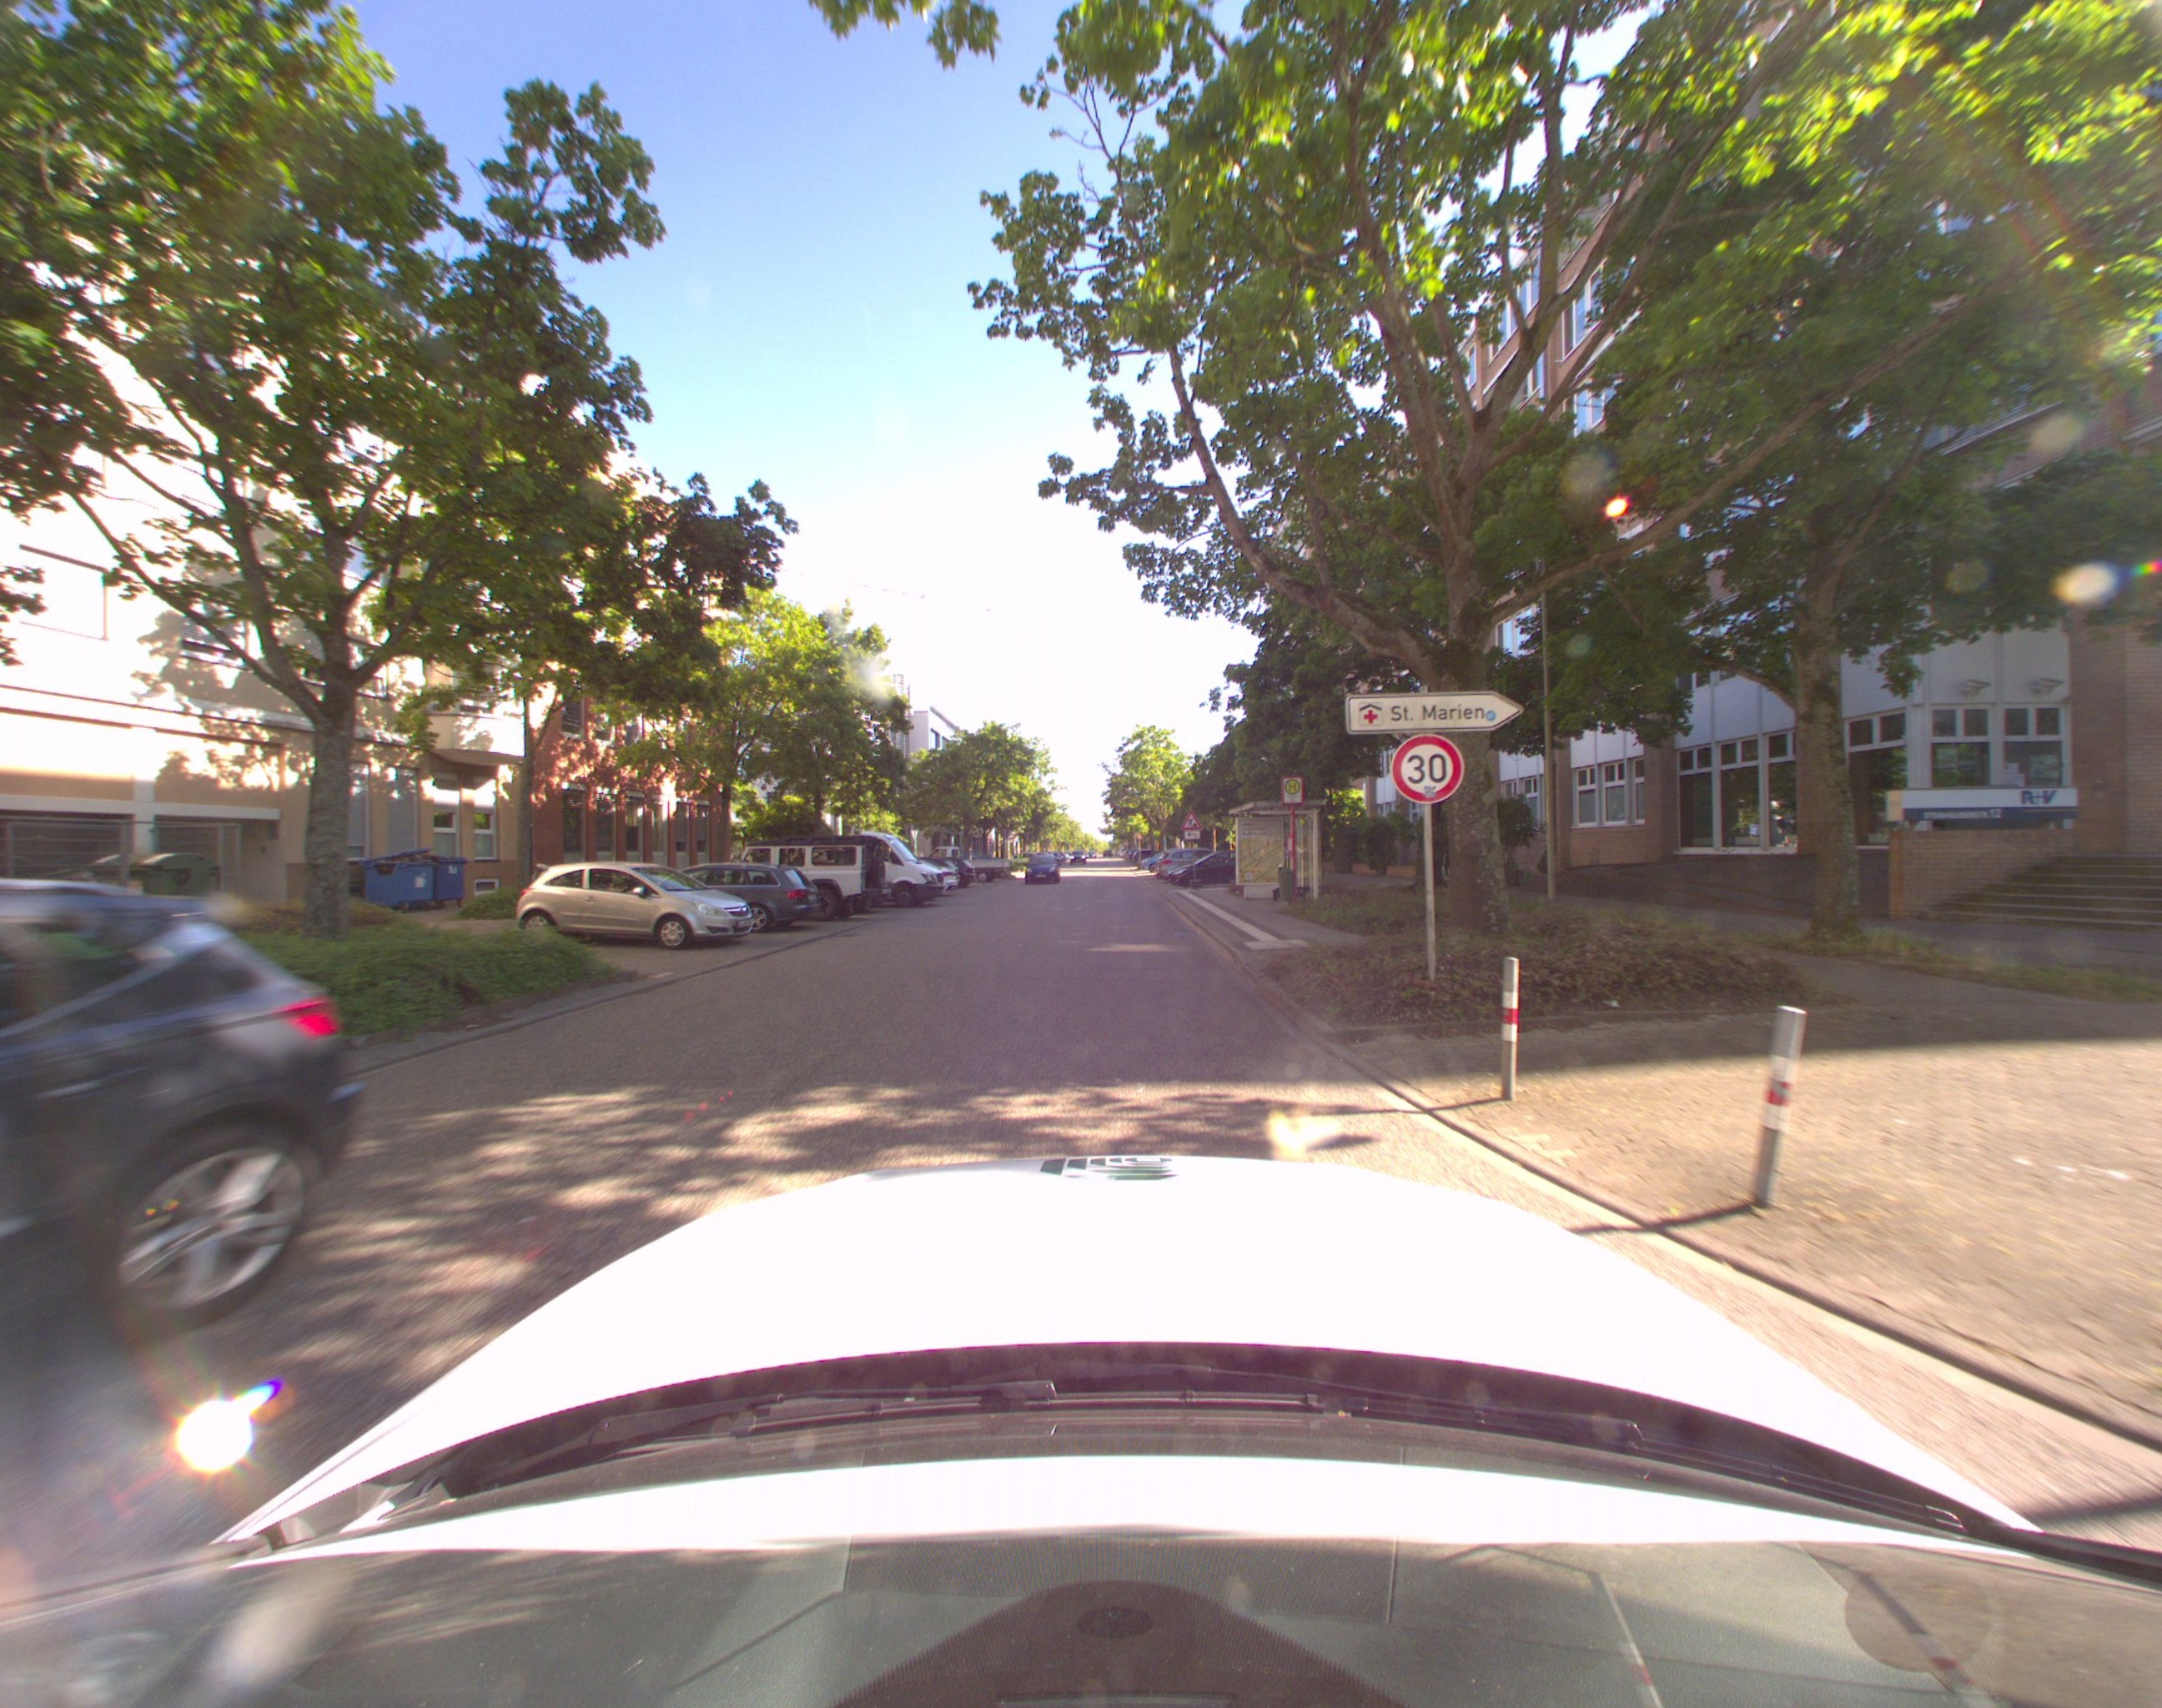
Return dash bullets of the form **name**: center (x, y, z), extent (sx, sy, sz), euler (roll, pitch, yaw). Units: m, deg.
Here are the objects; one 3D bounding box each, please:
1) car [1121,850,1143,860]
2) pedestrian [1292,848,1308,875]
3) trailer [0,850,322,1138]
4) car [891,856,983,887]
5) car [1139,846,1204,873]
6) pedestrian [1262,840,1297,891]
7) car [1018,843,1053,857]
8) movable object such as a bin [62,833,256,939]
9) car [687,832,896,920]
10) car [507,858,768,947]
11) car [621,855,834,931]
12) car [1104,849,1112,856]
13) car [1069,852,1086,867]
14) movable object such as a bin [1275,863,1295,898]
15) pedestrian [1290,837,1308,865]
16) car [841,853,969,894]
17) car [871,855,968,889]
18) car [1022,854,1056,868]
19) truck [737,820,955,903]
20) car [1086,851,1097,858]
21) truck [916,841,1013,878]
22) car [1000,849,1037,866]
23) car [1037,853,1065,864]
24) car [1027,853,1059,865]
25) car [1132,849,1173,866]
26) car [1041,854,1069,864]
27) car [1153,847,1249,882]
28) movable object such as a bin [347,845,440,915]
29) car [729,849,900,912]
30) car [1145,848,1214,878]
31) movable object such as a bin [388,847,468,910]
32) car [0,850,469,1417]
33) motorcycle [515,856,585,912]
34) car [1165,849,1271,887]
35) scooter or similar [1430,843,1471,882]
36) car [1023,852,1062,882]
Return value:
- **car**: center (9.980, 0.173, 159.827), extent (3.978, 1.792, 1.998), euler (-1, 0, -4)
- **pedestrian**: center (12.920, 0.438, 48.041), extent (0.754, 1.552, 0.559), euler (-2, 0, -1)
- **trailer**: center (-8.039, 0.756, 5.339), extent (4.249, 1.572, 1.855), euler (1, 0, -2)
- **car**: center (-6.880, 0.815, 39.125), extent (3.967, 1.435, 1.792), euler (-1, 0, 5)
- **car**: center (6.445, 0.388, 58.242), extent (4.390, 1.618, 1.912), euler (-4, 0, 1)
- **pedestrian**: center (7.045, 0.405, 28.900), extent (0.918, 1.711, 0.695), euler (-4, 1, -12)
- **car**: center (-4.935, -0.478, 89.360), extent (3.720, 1.464, 1.677), euler (-1, 0, 0)
- **movable object such as a bin**: center (-16.756, 0.548, 14.887), extent (1.594, 1.796, 1.664), euler (-1, 0, 0)
- **car**: center (-7.131, 0.521, 20.432), extent (4.467, 2.052, 2.000), euler (1, 0, -1)
- **car**: center (-7.973, 0.835, 14.859), extent (3.816, 1.461, 1.735), euler (1, 0, 5)
- **car**: center (-7.522, 0.792, 17.586), extent (3.762, 1.492, 1.834), euler (1, 0, 3)
- **car**: center (6.489, -0.400, 196.229), extent (1.926, 1.597, 4.368), euler (-1, 0, 2)
- **car**: center (-0.398, 0.588, 96.770), extent (1.886, 1.684, 4.352), euler (-1, 0, 0)
- **movable object such as a bin**: center (4.471, 0.581, 17.893), extent (0.297, 0.753, 0.467), euler (-3, -1, 2)
- **pedestrian**: center (13.850, -0.174, 51.736), extent (0.696, 1.711, 0.918), euler (-4, 1, -9)
- **car**: center (-6.743, 0.743, 31.581), extent (4.526, 1.442, 1.890), euler (1, 1, 0)
- **car**: center (-7.246, 0.805, 36.817), extent (3.972, 1.435, 1.722), euler (-1, 0, 1)
- **car**: center (-4.801, 0.784, 93.091), extent (3.720, 1.464, 1.677), euler (-1, 0, 0)
- **truck**: center (-7.314, 0.225, 25.822), extent (6.208, 2.422, 2.188), euler (-1, 0, 2)
- **car**: center (2.123, 0.031, 160.151), extent (1.804, 1.415, 4.114), euler (0, 0, 5)
- **truck**: center (-6.382, 0.289, 45.083), extent (4.963, 1.959, 2.140), euler (-1, 0, 3)
- **car**: center (-6.092, 0.332, 79.635), extent (3.569, 1.549, 1.636), euler (-1, -3, -1)
- **car**: center (-4.187, 0.662, 114.165), extent (3.879, 1.464, 1.858), euler (-1, 0, 0)
- **car**: center (-4.704, 0.604, 101.137), extent (3.879, 1.464, 1.858), euler (-1, 0, 0)
- **car**: center (7.699, 0.361, 88.385), extent (4.255, 1.633, 1.857), euler (-2, 0, -1)
- **car**: center (-3.772, 0.721, 118.178), extent (3.879, 1.464, 1.858), euler (-1, 0, 0)
- **car**: center (5.822, 0.502, 39.751), extent (4.344, 1.597, 1.936), euler (-1, 0, -5)
- **movable object such as a bin**: center (-16.697, 0.609, 19.835), extent (1.145, 1.620, 1.437), euler (-1, 0, -10)
- **car**: center (-7.413, 0.722, 22.977), extent (4.094, 1.662, 2.000), euler (1, 0, 0)
- **car**: center (5.797, 0.514, 48.080), extent (3.833, 1.483, 1.825), euler (-3, 1, 1)
- **movable object such as a bin**: center (-16.910, 0.615, 21.130), extent (1.145, 1.563, 1.240), euler (-1, 0, -11)
- **car**: center (-3.792, 0.758, 1.777), extent (1.773, 1.511, 4.002), euler (-1, 0, 2)
- **motorcycle**: center (-16.211, 0.886, 24.915), extent (0.712, 1.591, 2.110), euler (-1, 0, 0)
- **car**: center (5.392, 0.539, 32.455), extent (3.922, 1.439, 1.774), euler (-1, 0, -1)
- **scooter or similar**: center (12.822, 0.293, 28.316), extent (0.547, 1.325, 1.804), euler (1, 0, -3)
- **car**: center (-1.942, 0.625, 41.979), extent (1.637, 1.420, 4.002), euler (-1, 0, 2)
